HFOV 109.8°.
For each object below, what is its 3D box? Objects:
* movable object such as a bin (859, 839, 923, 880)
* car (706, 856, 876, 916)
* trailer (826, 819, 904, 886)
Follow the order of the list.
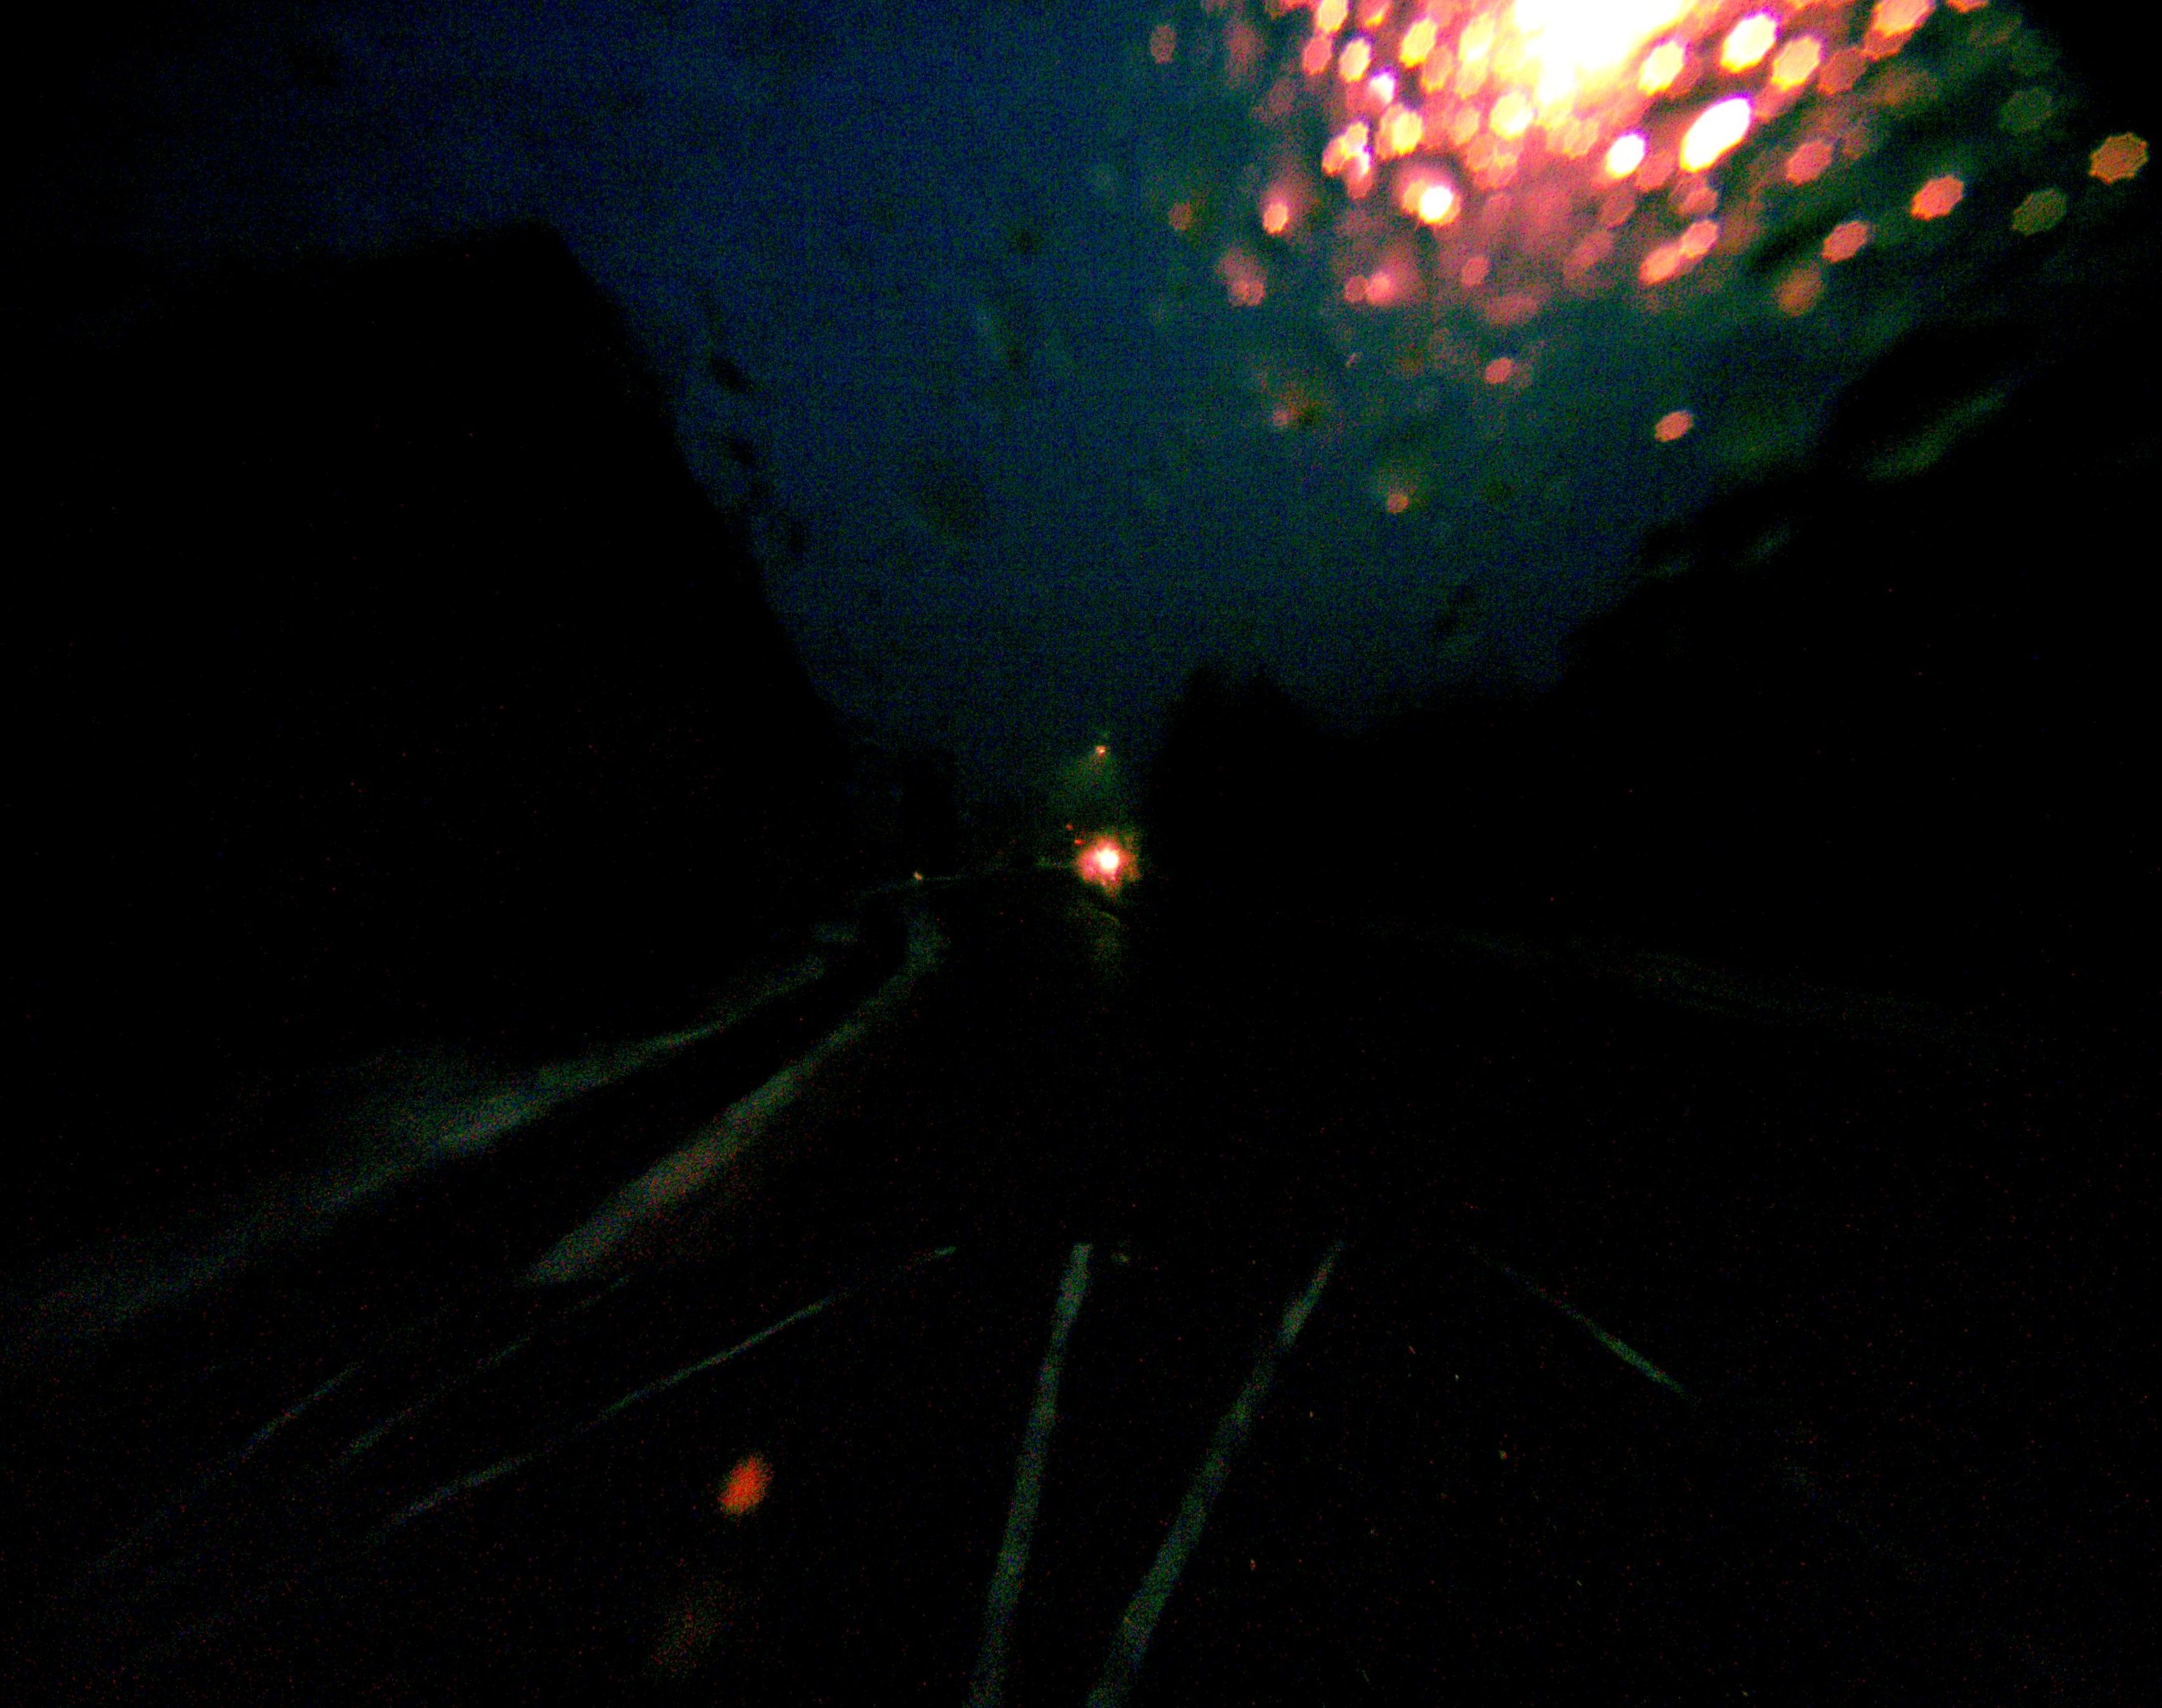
[{"bbox_3d":[-12.026,0.295,48.463,2.392,2.455,4.517,-1,2,7],"label":"movable object such as a bin"},{"bbox_3d":[-8.344,0.882,22.111,4.167,1.550,1.946,0,3,5],"label":"car"},{"bbox_3d":[-12.327,-0.143,43.841,2.882,3.540,5.061,-1,2,1],"label":"trailer"}]
